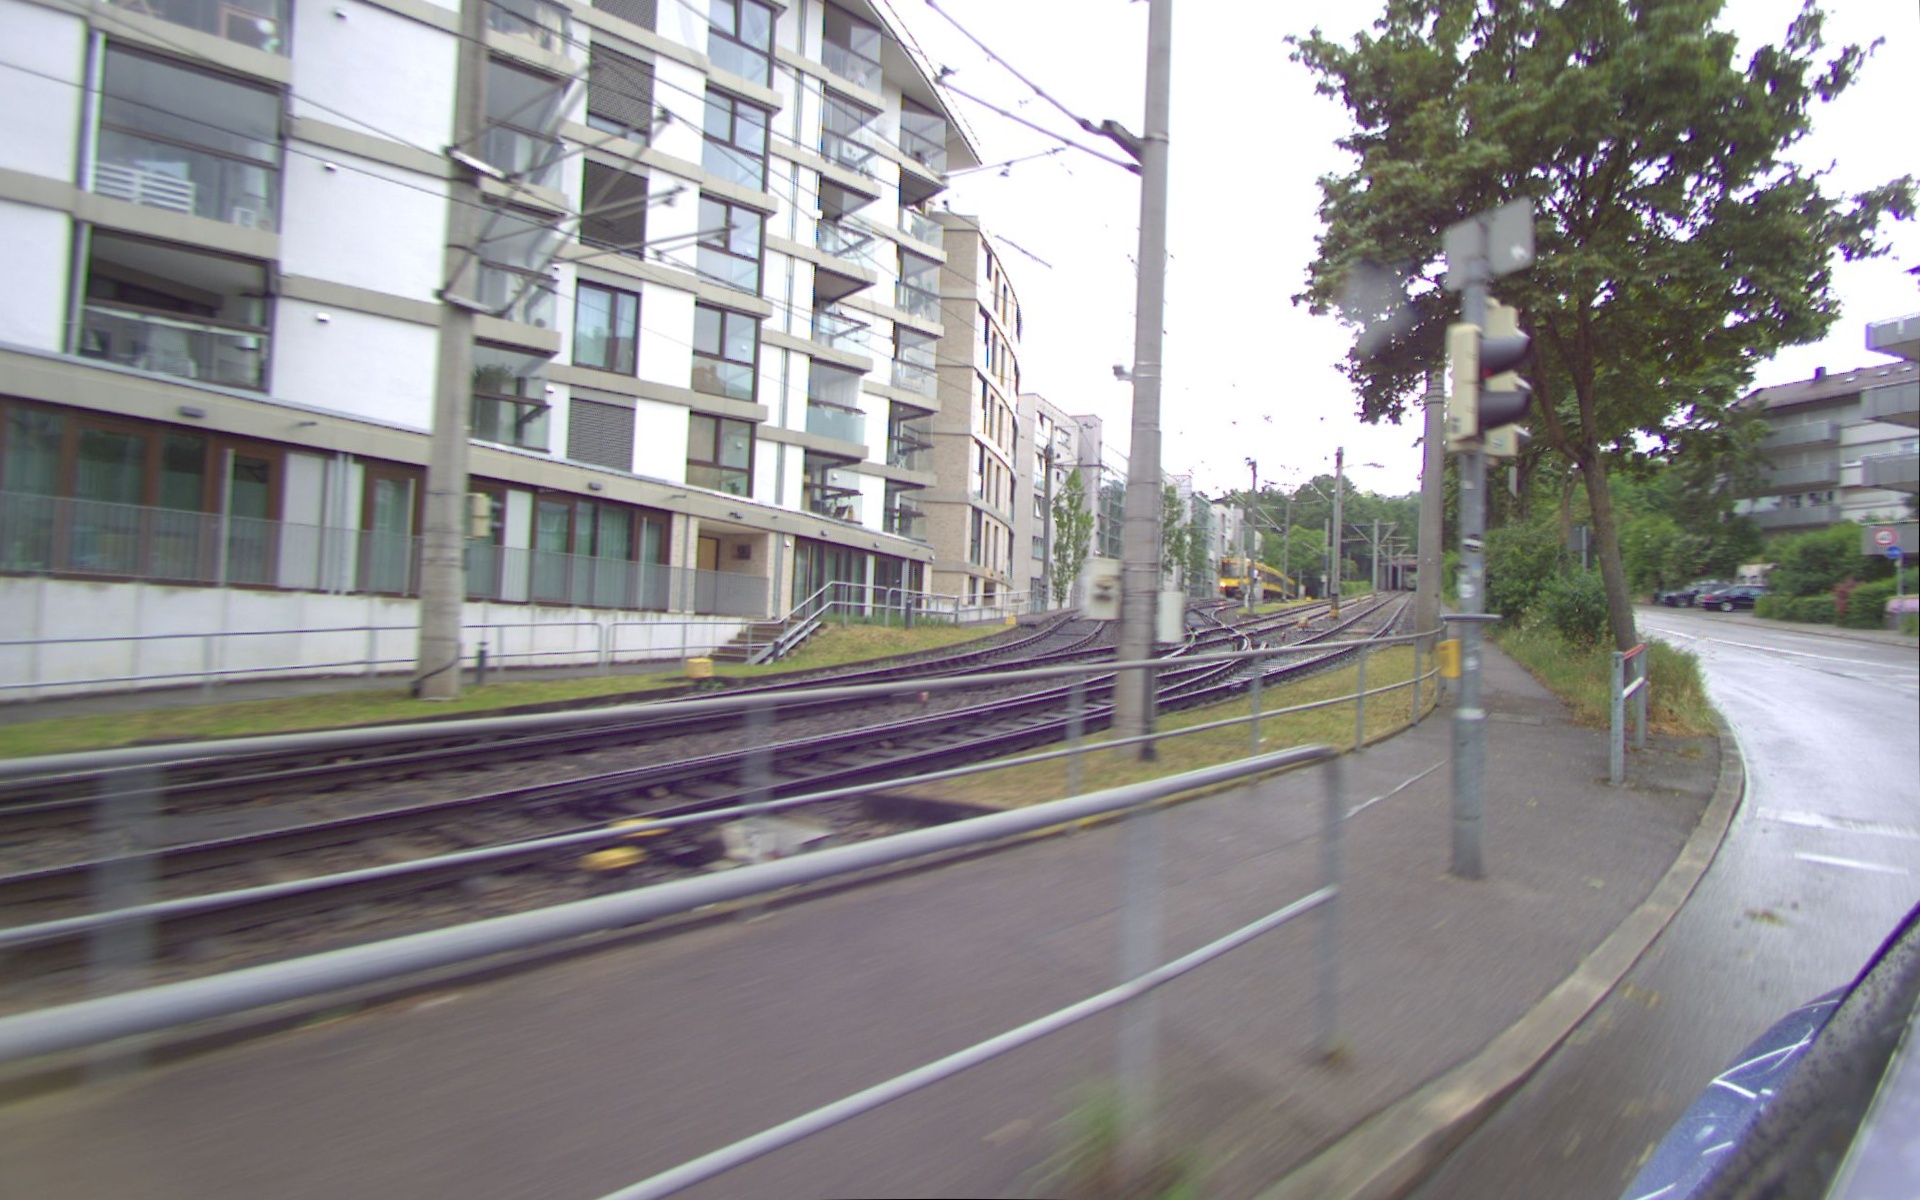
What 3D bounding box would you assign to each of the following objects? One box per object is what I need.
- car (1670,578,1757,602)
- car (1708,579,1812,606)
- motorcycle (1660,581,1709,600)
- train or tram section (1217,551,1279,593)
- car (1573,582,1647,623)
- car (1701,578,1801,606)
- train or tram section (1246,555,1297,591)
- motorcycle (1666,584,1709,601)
[{"bbox_3d":[50.645,-0.704,68.135,4.400,1.546,1.758,1,2,27],"label":"car"},{"bbox_3d":[46.571,-0.466,59.057,4.457,1.508,1.831,0,1,28],"label":"car"},{"bbox_3d":[52.751,-0.702,73.741,2.800,1.288,1.260,1,2,41],"label":"motorcycle"},{"bbox_3d":[27.261,-2.612,95.260,3.175,3.605,14.375,1,1,26],"label":"train or tram section"},{"bbox_3d":[25.002,0.129,39.054,1.843,1.497,3.964,-2,-2,25],"label":"car"},{"bbox_3d":[47.692,-0.501,61.129,4.395,1.546,1.760,1,2,24],"label":"car"},{"bbox_3d":[33.490,-2.873,108.265,3.085,3.542,14.726,1,1,26],"label":"train or tram section"},{"bbox_3d":[51.884,-0.553,72.222,2.445,1.122,0.653,2,2,33],"label":"motorcycle"}]
